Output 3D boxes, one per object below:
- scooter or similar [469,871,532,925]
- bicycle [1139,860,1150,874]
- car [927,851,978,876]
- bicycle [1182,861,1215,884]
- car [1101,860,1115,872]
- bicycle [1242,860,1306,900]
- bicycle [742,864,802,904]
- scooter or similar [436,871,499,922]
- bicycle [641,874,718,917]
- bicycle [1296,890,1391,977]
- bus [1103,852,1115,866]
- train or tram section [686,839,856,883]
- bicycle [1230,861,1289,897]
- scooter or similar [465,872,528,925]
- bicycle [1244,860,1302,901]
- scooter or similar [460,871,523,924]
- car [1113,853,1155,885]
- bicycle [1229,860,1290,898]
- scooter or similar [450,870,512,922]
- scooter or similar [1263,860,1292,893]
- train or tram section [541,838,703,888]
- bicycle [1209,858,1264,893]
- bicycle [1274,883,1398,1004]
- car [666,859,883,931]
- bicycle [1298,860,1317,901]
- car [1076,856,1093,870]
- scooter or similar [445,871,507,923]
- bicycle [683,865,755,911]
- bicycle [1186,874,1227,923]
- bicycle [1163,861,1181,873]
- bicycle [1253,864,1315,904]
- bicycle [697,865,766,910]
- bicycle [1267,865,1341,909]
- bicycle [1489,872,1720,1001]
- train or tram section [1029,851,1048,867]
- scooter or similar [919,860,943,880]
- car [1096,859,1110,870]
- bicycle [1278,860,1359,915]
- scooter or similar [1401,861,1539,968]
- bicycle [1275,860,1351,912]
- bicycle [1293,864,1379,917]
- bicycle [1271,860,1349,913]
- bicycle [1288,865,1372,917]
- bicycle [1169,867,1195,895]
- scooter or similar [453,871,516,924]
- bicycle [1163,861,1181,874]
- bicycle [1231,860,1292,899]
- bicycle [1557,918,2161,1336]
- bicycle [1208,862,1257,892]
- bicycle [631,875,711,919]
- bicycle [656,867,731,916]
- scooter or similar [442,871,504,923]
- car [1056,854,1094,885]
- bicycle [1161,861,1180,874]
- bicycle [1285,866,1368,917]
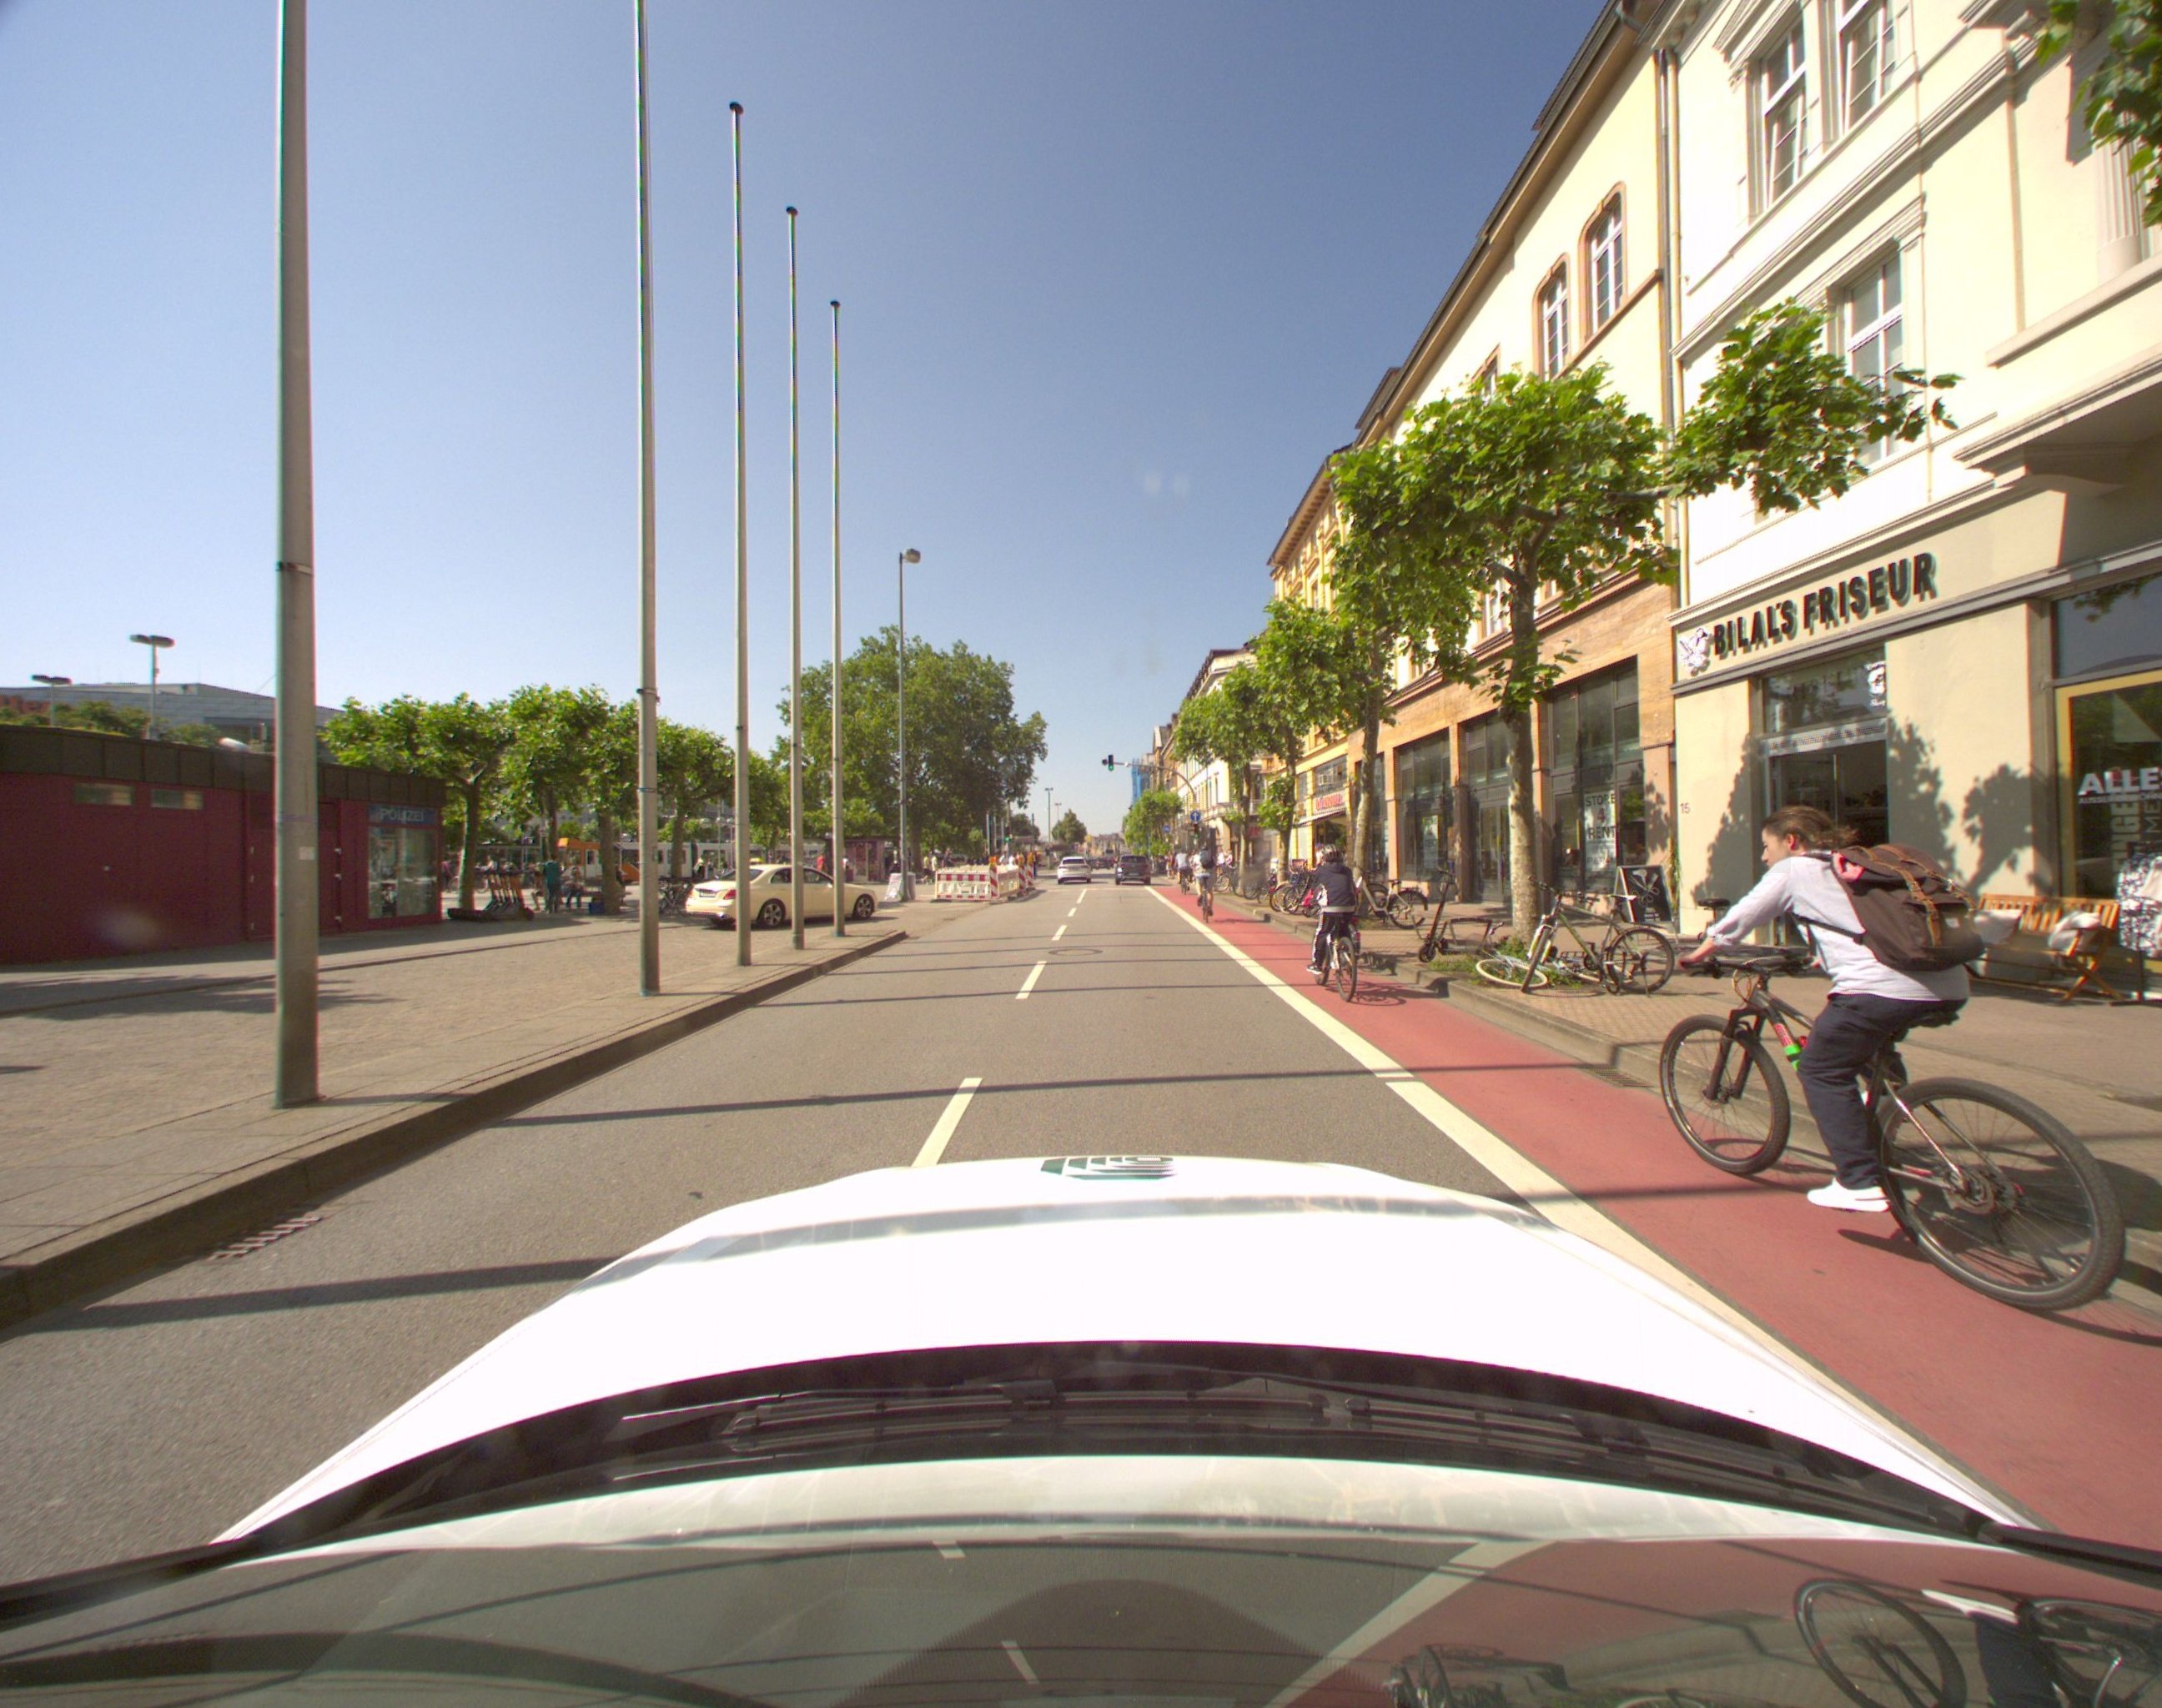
[{"bbox_3d":[-13.823,1.030,19.433,0.231,1.214,1.310,0,0,21],"label":"scooter or similar"},{"bbox_3d":[4.584,0.949,58.687,0.645,0.998,2.031,-1,0,1],"label":"bicycle"},{"bbox_3d":[-10.462,0.781,66.636,1.843,1.955,4.786,-1,-1,23],"label":"car"},{"bbox_3d":[5.995,0.952,41.680,0.604,1.082,1.820,-3,0,-33],"label":"bicycle"},{"bbox_3d":[4.271,1.873,127.817,1.841,1.668,3.996,0,0,-3],"label":"car"},{"bbox_3d":[5.932,0.793,25.068,1.836,1.201,0.475,-1,0,3],"label":"bicycle"},{"bbox_3d":[-10.684,1.021,28.173,1.777,1.348,0.740,1,0,-2],"label":"bicycle"},{"bbox_3d":[-15.306,1.049,20.336,0.262,1.214,1.310,0,0,21],"label":"scooter or similar"},{"bbox_3d":[-10.829,1.110,21.971,1.777,1.132,0.562,-1,0,-2],"label":"bicycle"},{"bbox_3d":[3.471,1.007,10.953,0.598,0.926,2.087,-1,1,0],"label":"bicycle"},{"bbox_3d":[7.542,1.335,219.622,2.984,3.594,11.746,-1,-1,1],"label":"bus"},{"bbox_3d":[-27.919,0.598,74.819,2.587,3.676,15.647,-1,0,37],"label":"train or tram section"},{"bbox_3d":[5.911,0.829,27.012,1.836,1.164,0.660,-1,0,3],"label":"bicycle"},{"bbox_3d":[-14.027,1.054,19.586,0.231,1.214,1.310,0,0,21],"label":"scooter or similar"},{"bbox_3d":[5.792,0.791,24.658,1.642,1.201,0.475,-1,0,3],"label":"bicycle"},{"bbox_3d":[-14.233,1.034,19.699,0.231,1.214,1.310,0,0,21],"label":"scooter or similar"},{"bbox_3d":[2.676,0.746,42.048,1.840,1.559,3.998,0,0,-1],"label":"car"},{"bbox_3d":[5.773,0.804,26.384,1.836,1.201,0.609,-1,0,3],"label":"bicycle"},{"bbox_3d":[-14.662,1.009,19.931,0.231,1.214,1.310,0,0,21],"label":"scooter or similar"},{"bbox_3d":[7.130,0.805,29.554,0.422,1.178,1.224,0,0,-19],"label":"scooter or similar"},{"bbox_3d":[-35.851,0.641,64.256,2.587,3.677,11.072,-1,0,37],"label":"train or tram section"},{"bbox_3d":[5.884,0.795,30.798,1.938,1.257,0.701,-1,0,-18],"label":"bicycle"},{"bbox_3d":[2.779,0.928,9.121,0.696,1.127,2.080,0,0,-2],"label":"bicycle"},{"bbox_3d":[-7.267,0.915,19.895,1.873,1.542,4.891,0,-1,29],"label":"car"},{"bbox_3d":[6.784,0.784,24.443,0.469,1.188,1.660,-1,0,13],"label":"bicycle"},{"bbox_3d":[0.463,0.983,91.551,1.839,1.560,4.000,-1,0,1],"label":"car"},{"bbox_3d":[-14.884,1.036,20.061,0.231,1.214,1.310,0,0,21],"label":"scooter or similar"},{"bbox_3d":[-10.576,0.975,23.828,1.777,1.309,0.662,-1,0,-2],"label":"bicycle"},{"bbox_3d":[2.809,0.979,18.398,0.628,0.980,2.089,-1,0,1],"label":"bicycle"},{"bbox_3d":[7.517,1.064,67.189,1.415,0.980,0.401,-2,0,2],"label":"bicycle"},{"bbox_3d":[5.750,0.841,23.135,1.642,1.095,0.607,-1,0,3],"label":"bicycle"},{"bbox_3d":[-10.614,1.013,24.761,1.777,1.309,0.662,-1,0,-2],"label":"bicycle"},{"bbox_3d":[5.715,0.840,20.922,1.721,1.095,0.607,-1,0,3],"label":"bicycle"},{"bbox_3d":[5.141,0.787,8.087,1.830,1.186,0.671,0,-1,6],"label":"bicycle"},{"bbox_3d":[-9.066,1.055,175.519,2.600,3.348,11.018,-1,0,5],"label":"train or tram section"},{"bbox_3d":[-10.691,1.150,58.158,1.264,1.421,1.045,-1,-1,32],"label":"scooter or similar"},{"bbox_3d":[2.947,1.391,108.891,1.839,1.413,4.000,-1,0,1],"label":"car"},{"bbox_3d":[5.441,0.761,18.715,1.721,1.217,0.478,-1,0,3],"label":"bicycle"},{"bbox_3d":[4.868,0.734,10.281,1.465,1.274,0.672,0,-1,12],"label":"scooter or similar"},{"bbox_3d":[5.656,0.778,19.927,1.721,1.217,0.478,-1,0,3],"label":"bicycle"},{"bbox_3d":[5.476,0.787,17.519,1.721,1.109,0.403,-1,-1,3],"label":"bicycle"},{"bbox_3d":[5.456,0.775,19.440,1.721,1.217,0.478,-1,0,3],"label":"bicycle"},{"bbox_3d":[5.465,0.817,17.933,1.721,1.109,0.403,-1,-1,3],"label":"bicycle"},{"bbox_3d":[3.990,1.037,32.289,0.771,1.006,2.330,-1,0,2],"label":"bicycle"},{"bbox_3d":[-14.459,1.043,19.781,0.231,1.214,1.310,0,0,21],"label":"scooter or similar"},{"bbox_3d":[7.330,1.059,65.809,1.415,0.980,0.445,-2,0,2],"label":"bicycle"},{"bbox_3d":[5.721,0.797,25.879,1.836,1.201,0.545,-1,0,3],"label":"bicycle"},{"bbox_3d":[3.051,0.923,3.557,0.696,1.127,2.080,0,0,-2],"label":"bicycle"},{"bbox_3d":[5.890,0.889,31.678,1.777,1.122,0.562,-2,0,-2],"label":"bicycle"},{"bbox_3d":[-10.697,1.105,21.279,1.777,1.105,0.562,-1,0,-2],"label":"bicycle"},{"bbox_3d":[-10.700,1.019,22.540,1.777,1.309,0.562,-1,0,-2],"label":"bicycle"},{"bbox_3d":[-15.075,1.045,20.229,0.231,1.214,1.310,0,0,21],"label":"scooter or similar"},{"bbox_3d":[-0.284,0.800,44.497,1.838,1.560,4.002,-2,0,2],"label":"car"},{"bbox_3d":[7.165,1.061,65.351,1.415,0.980,0.445,-2,0,2],"label":"bicycle"},{"bbox_3d":[5.514,0.834,18.351,1.721,1.109,0.478,-1,0,3],"label":"bicycle"}]
